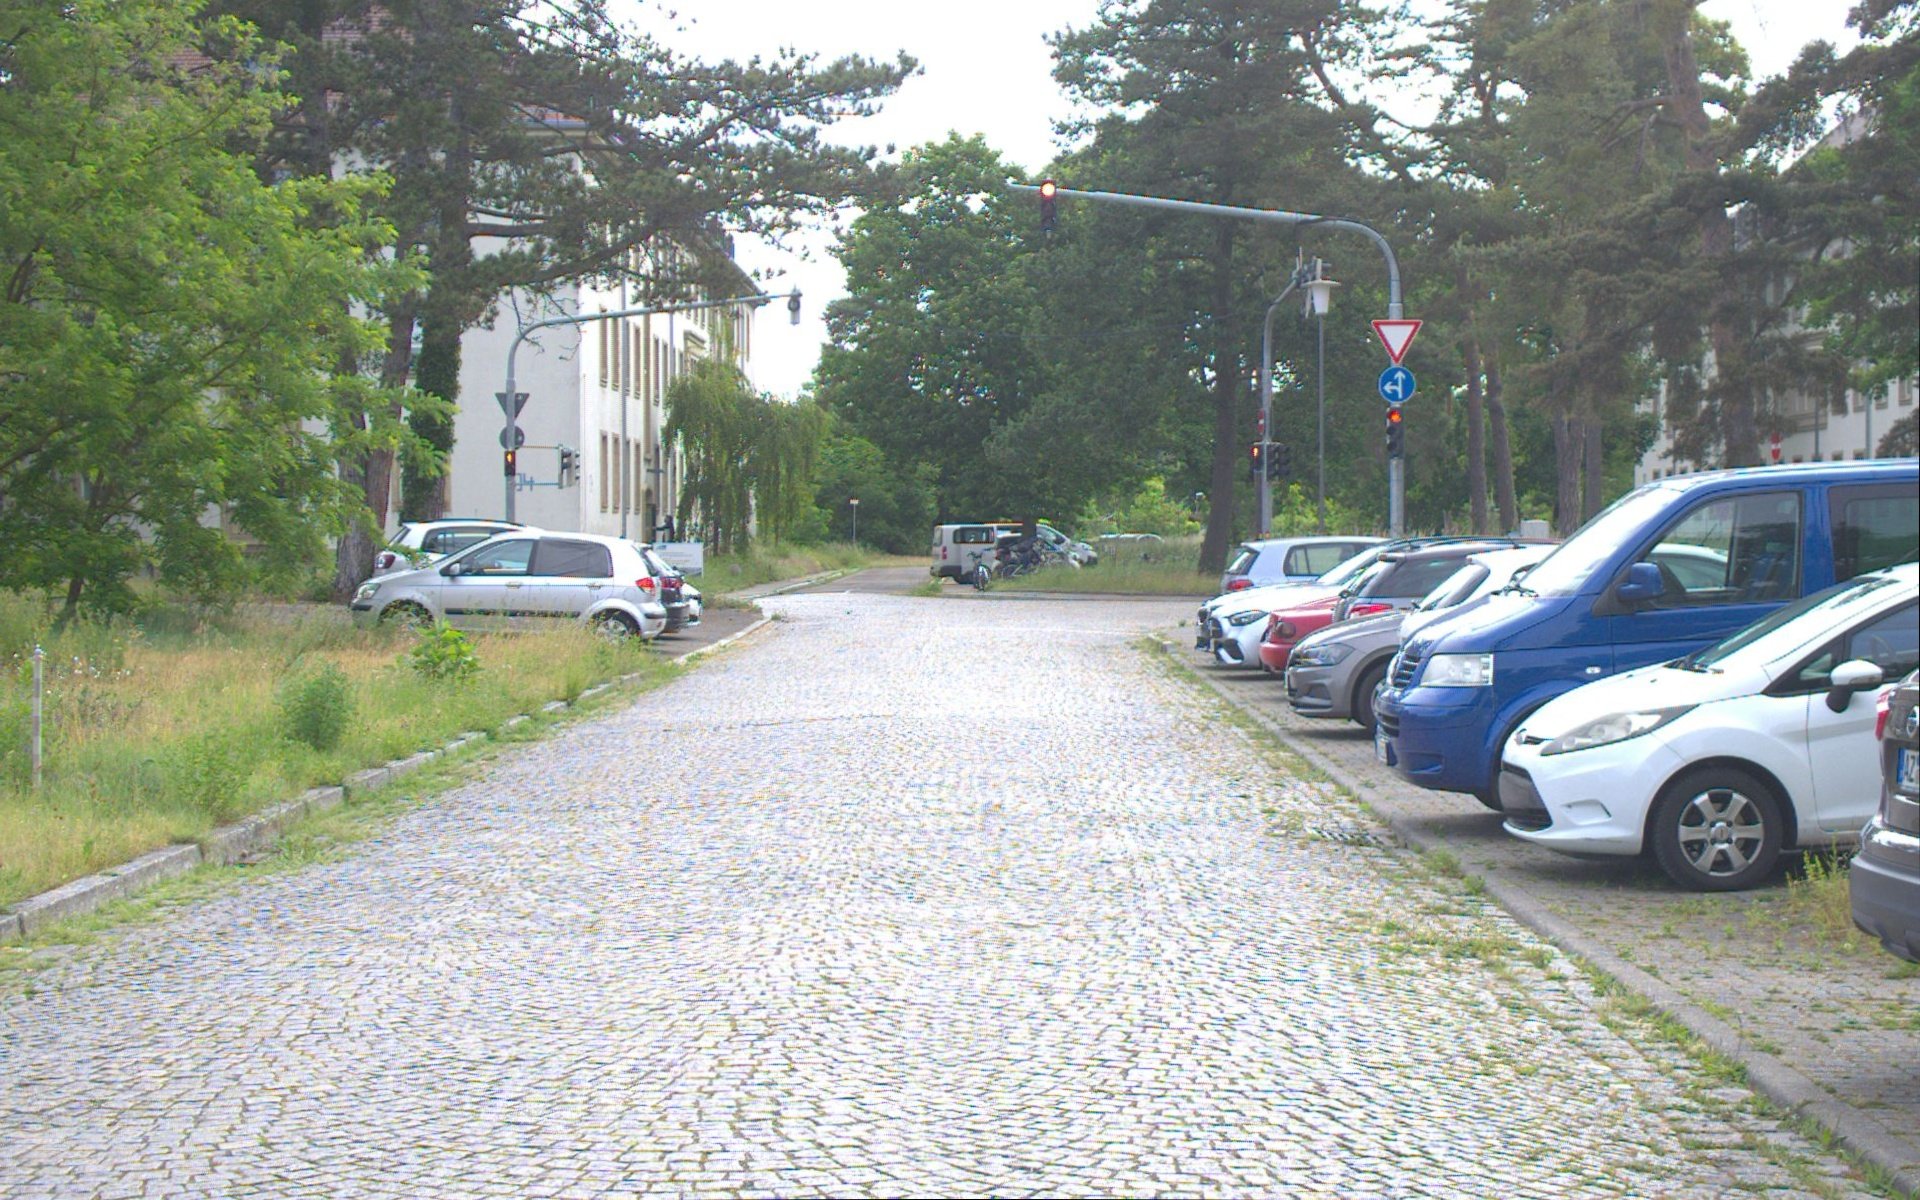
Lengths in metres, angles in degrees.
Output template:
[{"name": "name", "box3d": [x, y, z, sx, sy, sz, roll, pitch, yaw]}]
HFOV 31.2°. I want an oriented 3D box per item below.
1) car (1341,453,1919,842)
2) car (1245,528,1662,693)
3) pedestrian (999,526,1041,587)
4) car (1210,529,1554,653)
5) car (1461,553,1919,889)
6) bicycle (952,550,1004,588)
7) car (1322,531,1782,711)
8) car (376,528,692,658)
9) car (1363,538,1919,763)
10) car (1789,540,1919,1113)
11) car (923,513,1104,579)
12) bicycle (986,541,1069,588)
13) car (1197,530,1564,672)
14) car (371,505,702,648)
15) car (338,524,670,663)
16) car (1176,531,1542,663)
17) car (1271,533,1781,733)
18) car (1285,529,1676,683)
[{"name": "car", "box3d": [4.587, 0.207, 18.668, 4.754, 1.948, 1.931, -1, 1, -1]}, {"name": "car", "box3d": [4.608, 0.087, 32.421, 3.671, 1.444, 1.524, -1, 1, -1]}, {"name": "pedestrian", "box3d": [1.592, -1.166, 91.779, 1.033, 1.608, 0.757, 1, 1, -4]}, {"name": "car", "box3d": [5.175, -0.122, 42.456, 3.967, 1.416, 1.620, -1, 1, -4]}, {"name": "car", "box3d": [4.325, 0.510, 16.083, 3.671, 1.444, 1.615, -1, 1, -2]}, {"name": "bicycle", "box3d": [0.455, -0.795, 87.390, 0.620, 0.941, 1.663, 0, 1, -27]}, {"name": "car", "box3d": [5.071, 0.164, 29.709, 3.671, 1.444, 1.524, -1, 1, -1]}, {"name": "car", "box3d": [-5.411, -0.102, 43.965, 3.821, 1.567, 1.564, -1, 1, 0]}, {"name": "car", "box3d": [4.757, 0.327, 23.947, 3.671, 1.444, 1.524, -1, 1, -1]}, {"name": "car", "box3d": [4.588, 0.572, 9.701, 4.028, 1.547, 1.751, -1, 1, -2]}, {"name": "car", "box3d": [1.673, -1.723, 109.341, 5.444, 2.007, 2.269, 1, 1, -8]}, {"name": "bicycle", "box3d": [1.788, -0.951, 91.437, 2.136, 1.210, 0.622, 1, 1, -4]}, {"name": "car", "box3d": [4.483, -0.001, 36.961, 3.671, 1.416, 1.524, -1, 1, -4]}, {"name": "car", "box3d": [-5.742, -0.323, 46.954, 4.262, 1.834, 1.744, -1, 1, 0]}, {"name": "car", "box3d": [-5.469, -0.092, 41.548, 3.821, 1.567, 1.564, -1, 1, -2]}, {"name": "car", "box3d": [4.587, -0.052, 39.815, 3.967, 1.416, 1.620, -1, 1, -4]}, {"name": "car", "box3d": [4.351, 0.237, 26.732, 3.671, 1.444, 1.524, -1, 1, -1]}, {"name": "car", "box3d": [5.212, 0.048, 34.697, 3.671, 1.444, 1.524, -1, 1, -1]}]
